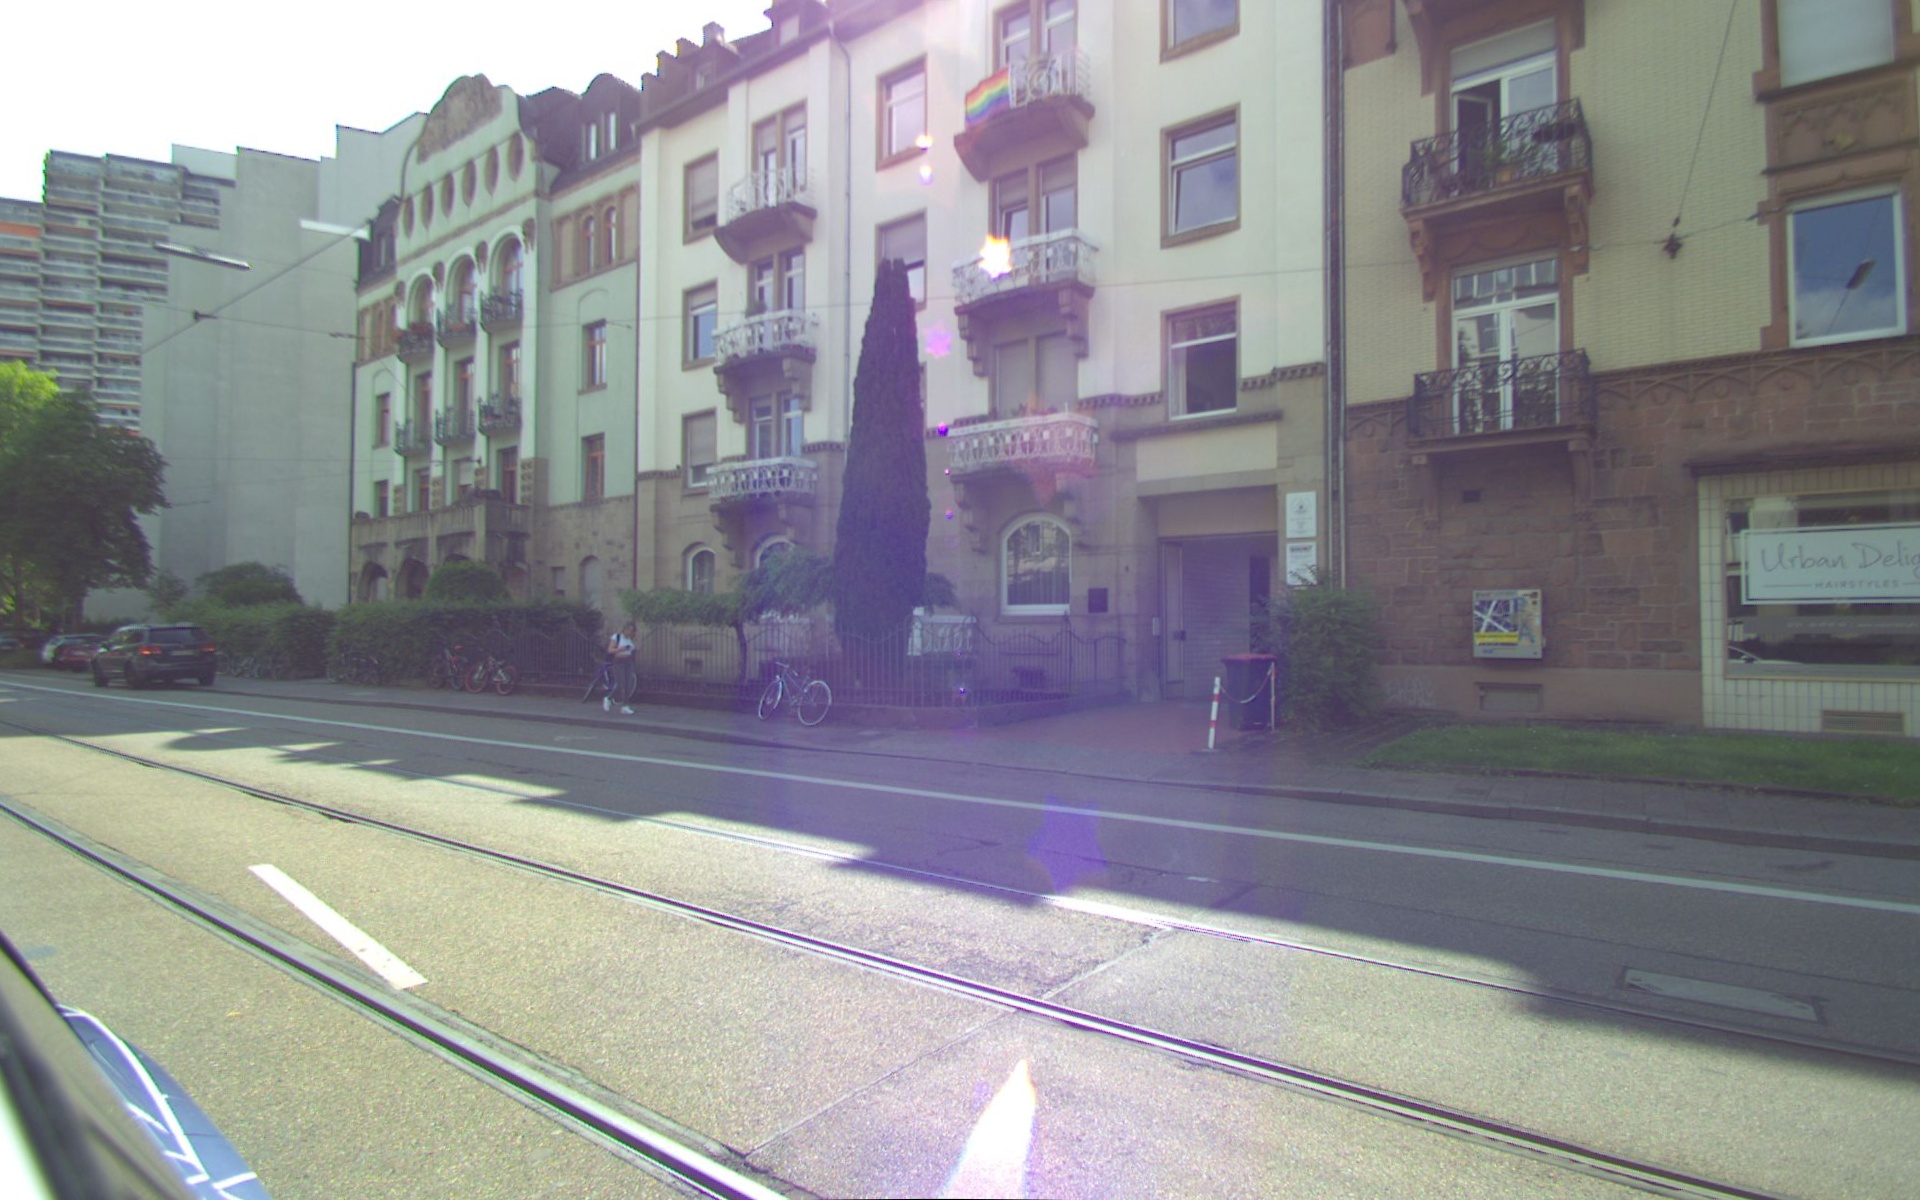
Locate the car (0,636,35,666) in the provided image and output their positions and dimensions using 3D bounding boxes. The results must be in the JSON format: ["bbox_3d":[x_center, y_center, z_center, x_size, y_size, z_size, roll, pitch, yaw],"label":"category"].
[{"bbox_3d":[-51.230,2.673,53.088,3.938,1.519,2.002,2,-3,-42],"label":"car"}]

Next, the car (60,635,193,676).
[{"bbox_3d":[-32.824,2.151,39.913,3.938,1.519,2.002,2,-3,-42],"label":"car"}]

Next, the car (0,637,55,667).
[{"bbox_3d":[-48.542,2.636,51.301,3.938,1.519,2.002,2,-3,-42],"label":"car"}]

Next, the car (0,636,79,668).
[{"bbox_3d":[-45.863,2.540,49.647,3.938,1.519,2.002,2,-3,-42],"label":"car"}]

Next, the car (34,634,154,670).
[{"bbox_3d":[-38.104,2.245,44.590,3.938,1.519,2.002,2,-3,-42],"label":"car"}]

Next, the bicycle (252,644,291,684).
[{"bbox_3d":[-20.448,1.878,30.061,1.785,1.144,0.462,-2,-3,40],"label":"bicycle"}]

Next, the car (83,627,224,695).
[{"bbox_3d":[-22.188,1.619,27.787,4.393,1.708,1.899,-1,-2,36],"label":"car"}]

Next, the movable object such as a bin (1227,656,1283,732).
[{"bbox_3d":[4.133,1.307,14.204,0.697,1.037,0.475,0,-2,11],"label":"movable object such as a bin"}]

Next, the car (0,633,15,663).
[{"bbox_3d":[-56.312,2.741,57.347,3.938,1.695,2.002,2,-3,-42],"label":"car"}]

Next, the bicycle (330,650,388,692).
[{"bbox_3d":[-15.092,1.757,25.389,1.979,1.003,0.597,-2,-3,40],"label":"bicycle"}]

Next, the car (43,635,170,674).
[{"bbox_3d":[-35.502,2.242,42.172,3.938,1.519,2.002,2,-3,-42],"label":"car"}]

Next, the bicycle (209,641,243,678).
[{"bbox_3d":[-23.623,1.902,32.558,1.785,1.144,0.462,-2,-3,40],"label":"bicycle"}]

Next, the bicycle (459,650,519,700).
[{"bbox_3d":[-10.209,1.606,21.905,1.785,1.003,0.462,-2,-3,40],"label":"bicycle"}]

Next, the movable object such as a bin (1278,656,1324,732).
[{"bbox_3d":[4.763,1.302,14.155,0.531,1.037,0.475,0,-2,11],"label":"movable object such as a bin"}]

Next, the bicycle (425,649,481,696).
[{"bbox_3d":[-11.623,1.645,23.172,1.785,1.003,0.462,-2,-3,40],"label":"bicycle"}]

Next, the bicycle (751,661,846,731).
[{"bbox_3d":[-2.562,1.477,15.893,0.461,1.003,1.980,2,-3,-43],"label":"bicycle"}]

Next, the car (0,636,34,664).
[{"bbox_3d":[-53.415,2.755,55.395,3.938,1.519,2.002,2,-3,-42],"label":"car"}]

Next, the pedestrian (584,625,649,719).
[{"bbox_3d":[-5.878,1.210,17.342,0.764,1.553,0.749,-2,-3,39],"label":"pedestrian"}]

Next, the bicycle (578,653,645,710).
[{"bbox_3d":[-6.628,1.521,19.202,0.461,1.003,1.788,2,-3,-45],"label":"bicycle"}]

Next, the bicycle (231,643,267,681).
[{"bbox_3d":[-21.971,1.901,31.265,1.785,1.144,0.462,-2,-3,40],"label":"bicycle"}]

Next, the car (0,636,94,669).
[{"bbox_3d":[-43.411,2.455,47.664,3.938,1.519,2.002,2,-3,-42],"label":"car"}]
